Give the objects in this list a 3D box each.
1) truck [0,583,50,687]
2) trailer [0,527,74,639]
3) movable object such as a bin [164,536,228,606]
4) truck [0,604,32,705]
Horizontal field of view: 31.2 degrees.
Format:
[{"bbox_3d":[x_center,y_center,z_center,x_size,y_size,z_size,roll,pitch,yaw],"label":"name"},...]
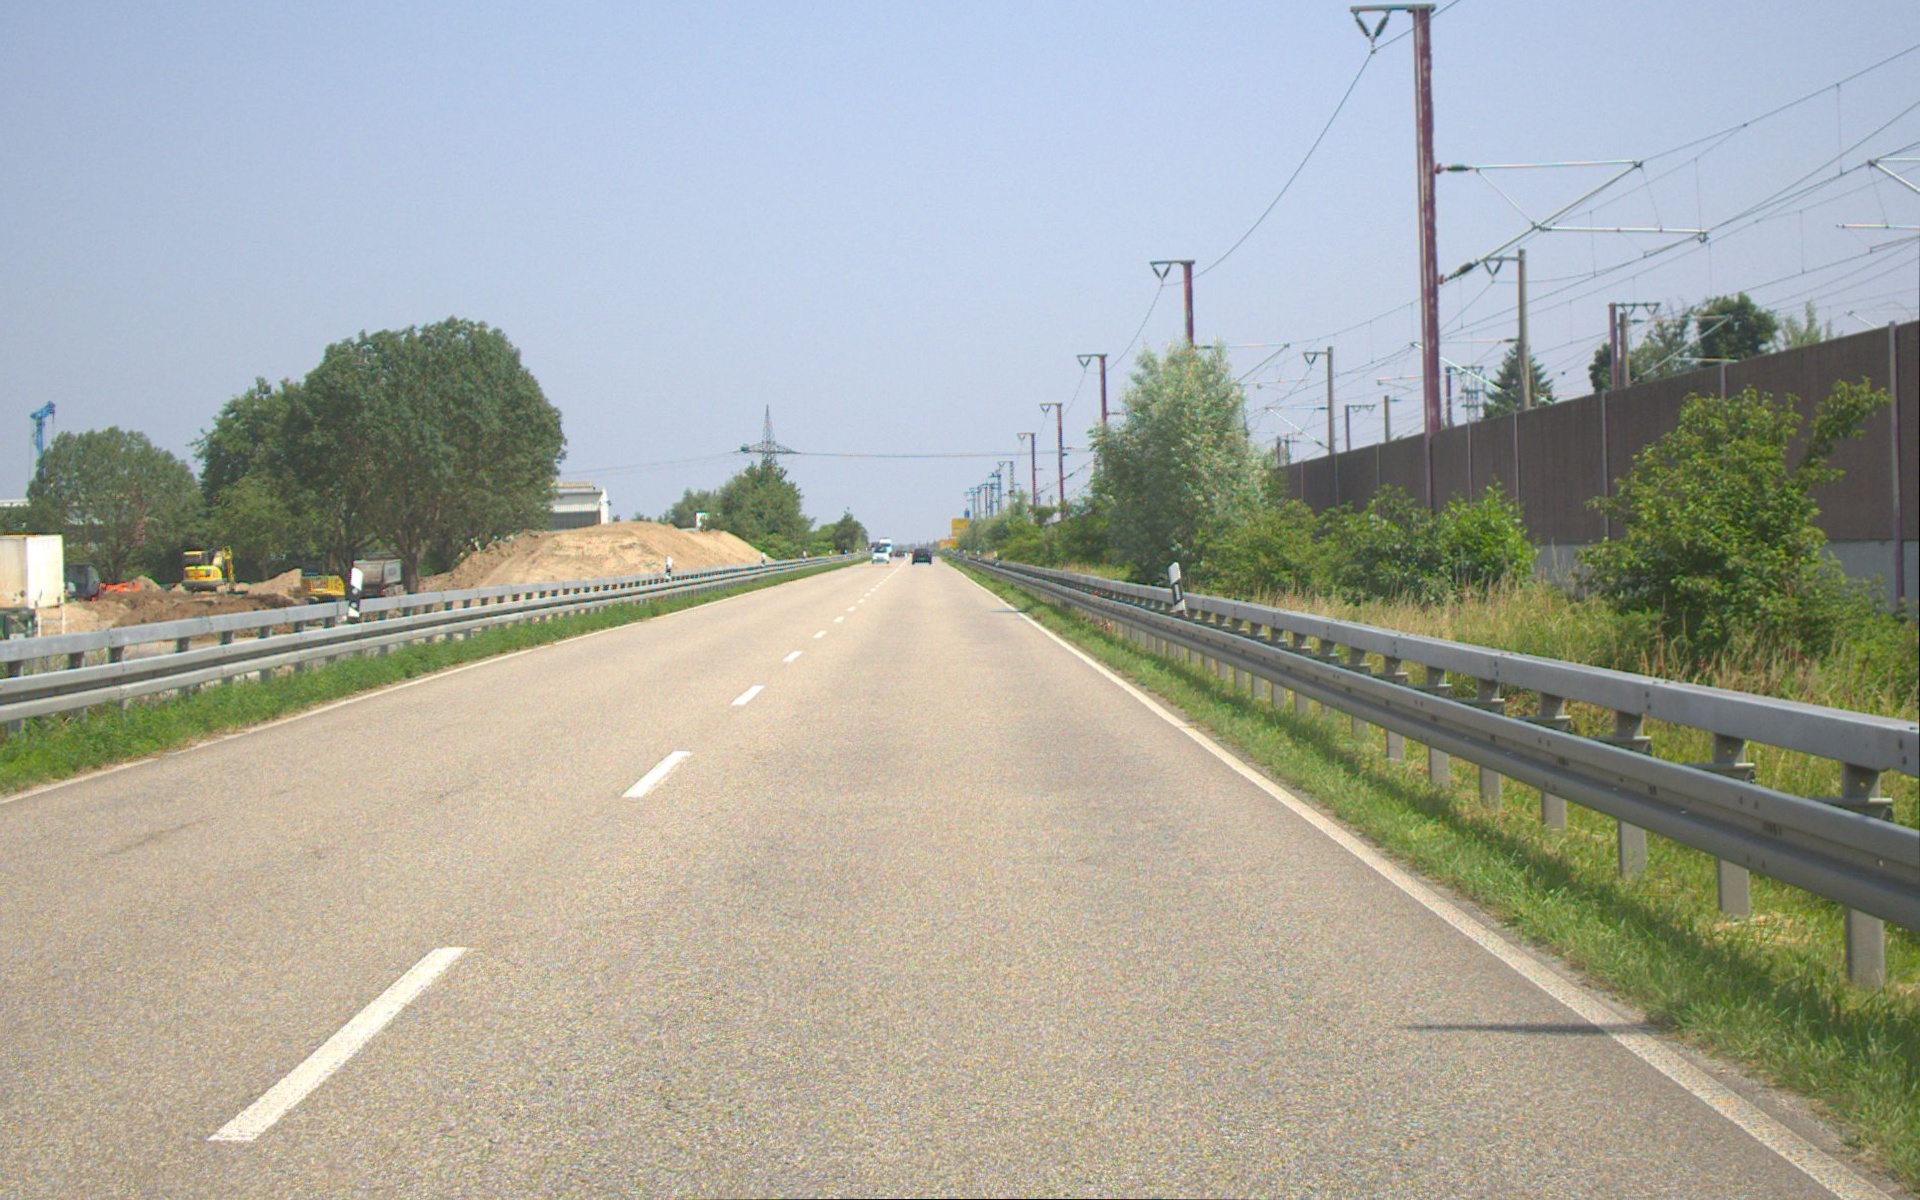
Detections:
[{"bbox_3d":[-25.117,0.850,84.423,5.043,2.529,2.274,0,0,-5],"label":"truck"},{"bbox_3d":[-37.624,-0.733,137.860,2.678,4.317,7.954,0,2,-5],"label":"trailer"},{"bbox_3d":[-42.000,-1.595,188.964,2.620,3.640,5.462,-4,1,-19],"label":"movable object such as a bin"},{"bbox_3d":[-24.723,1.291,81.208,5.008,2.325,2.233,0,1,0],"label":"truck"}]
